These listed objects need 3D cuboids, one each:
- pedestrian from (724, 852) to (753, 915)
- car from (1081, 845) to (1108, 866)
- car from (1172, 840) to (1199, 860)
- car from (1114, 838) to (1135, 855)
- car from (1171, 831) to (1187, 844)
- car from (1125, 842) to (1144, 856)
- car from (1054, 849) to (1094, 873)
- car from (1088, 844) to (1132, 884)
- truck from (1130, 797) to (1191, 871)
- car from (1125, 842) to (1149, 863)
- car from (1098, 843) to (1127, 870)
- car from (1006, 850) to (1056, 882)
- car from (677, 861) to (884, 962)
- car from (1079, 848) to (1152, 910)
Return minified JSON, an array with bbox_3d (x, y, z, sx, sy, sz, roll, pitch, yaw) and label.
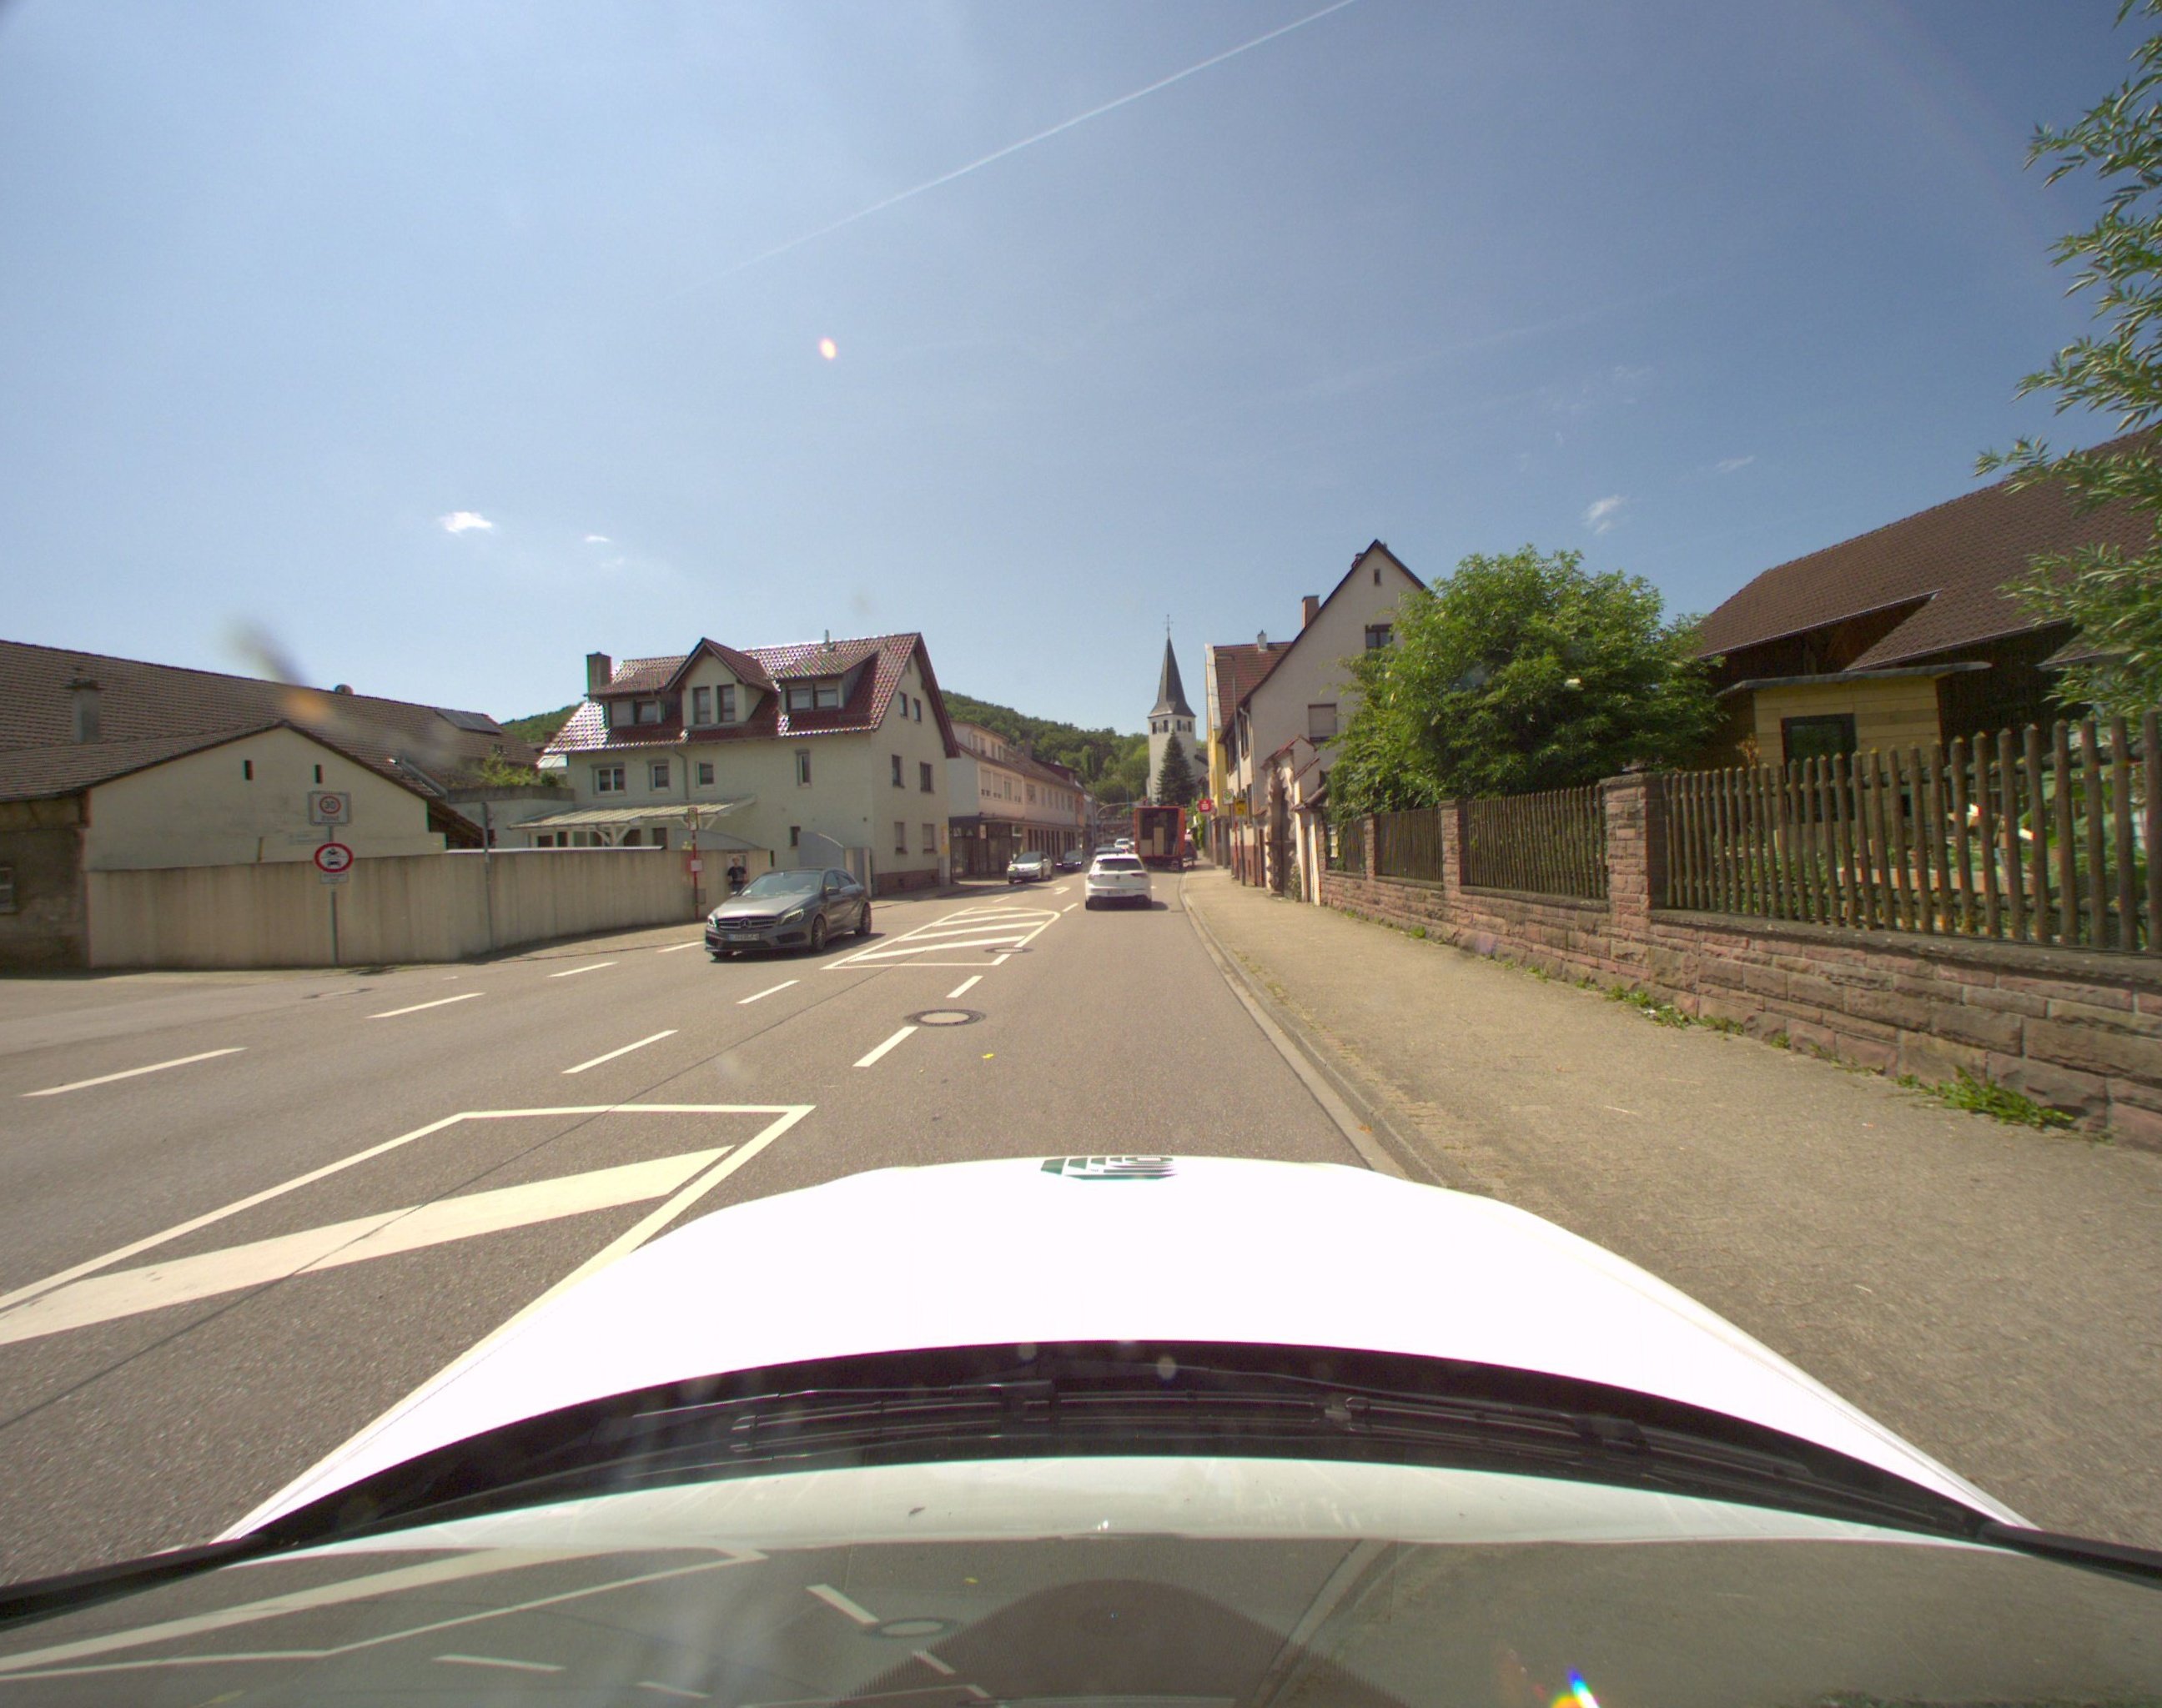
[{"bbox_3d":[-9.956,0.853,23.698,0.430,1.764,0.560,-3,0,22],"label":"pedestrian"},{"bbox_3d":[1.270,0.079,73.960,1.681,1.698,4.124,-4,1,10],"label":"car"},{"bbox_3d":[8.691,-0.329,68.031,1.807,1.519,4.003,-4,-1,3],"label":"car"},{"bbox_3d":[5.089,-0.934,94.778,1.791,1.779,4.717,-4,1,9],"label":"car"},{"bbox_3d":[13.279,-2.185,110.415,1.807,1.519,4.003,-4,-1,3],"label":"car"},{"bbox_3d":[7.133,-0.642,107.806,1.982,1.651,4.010,-4,-1,9],"label":"car"},{"bbox_3d":[-0.455,0.438,55.449,1.782,1.493,4.434,-4,-1,11],"label":"car"},{"bbox_3d":[1.351,0.449,37.164,1.807,1.628,4.003,-4,-1,3],"label":"car"},{"bbox_3d":[5.197,-1.163,53.048,3.350,4.170,9.533,-4,-1,5],"label":"truck"},{"bbox_3d":[4.614,-0.109,67.172,1.807,1.519,4.003,-4,-1,3],"label":"car"},{"bbox_3d":[2.163,0.177,54.610,1.807,1.628,4.003,-4,-1,3],"label":"car"},{"bbox_3d":[-2.554,0.601,42.682,1.786,1.508,4.142,-4,-1,7],"label":"car"},{"bbox_3d":[-5.214,0.921,14.834,1.854,1.442,4.222,-4,-1,4],"label":"car"},{"bbox_3d":[0.983,0.635,22.575,1.807,1.519,4.003,-1,0,3],"label":"car"}]
